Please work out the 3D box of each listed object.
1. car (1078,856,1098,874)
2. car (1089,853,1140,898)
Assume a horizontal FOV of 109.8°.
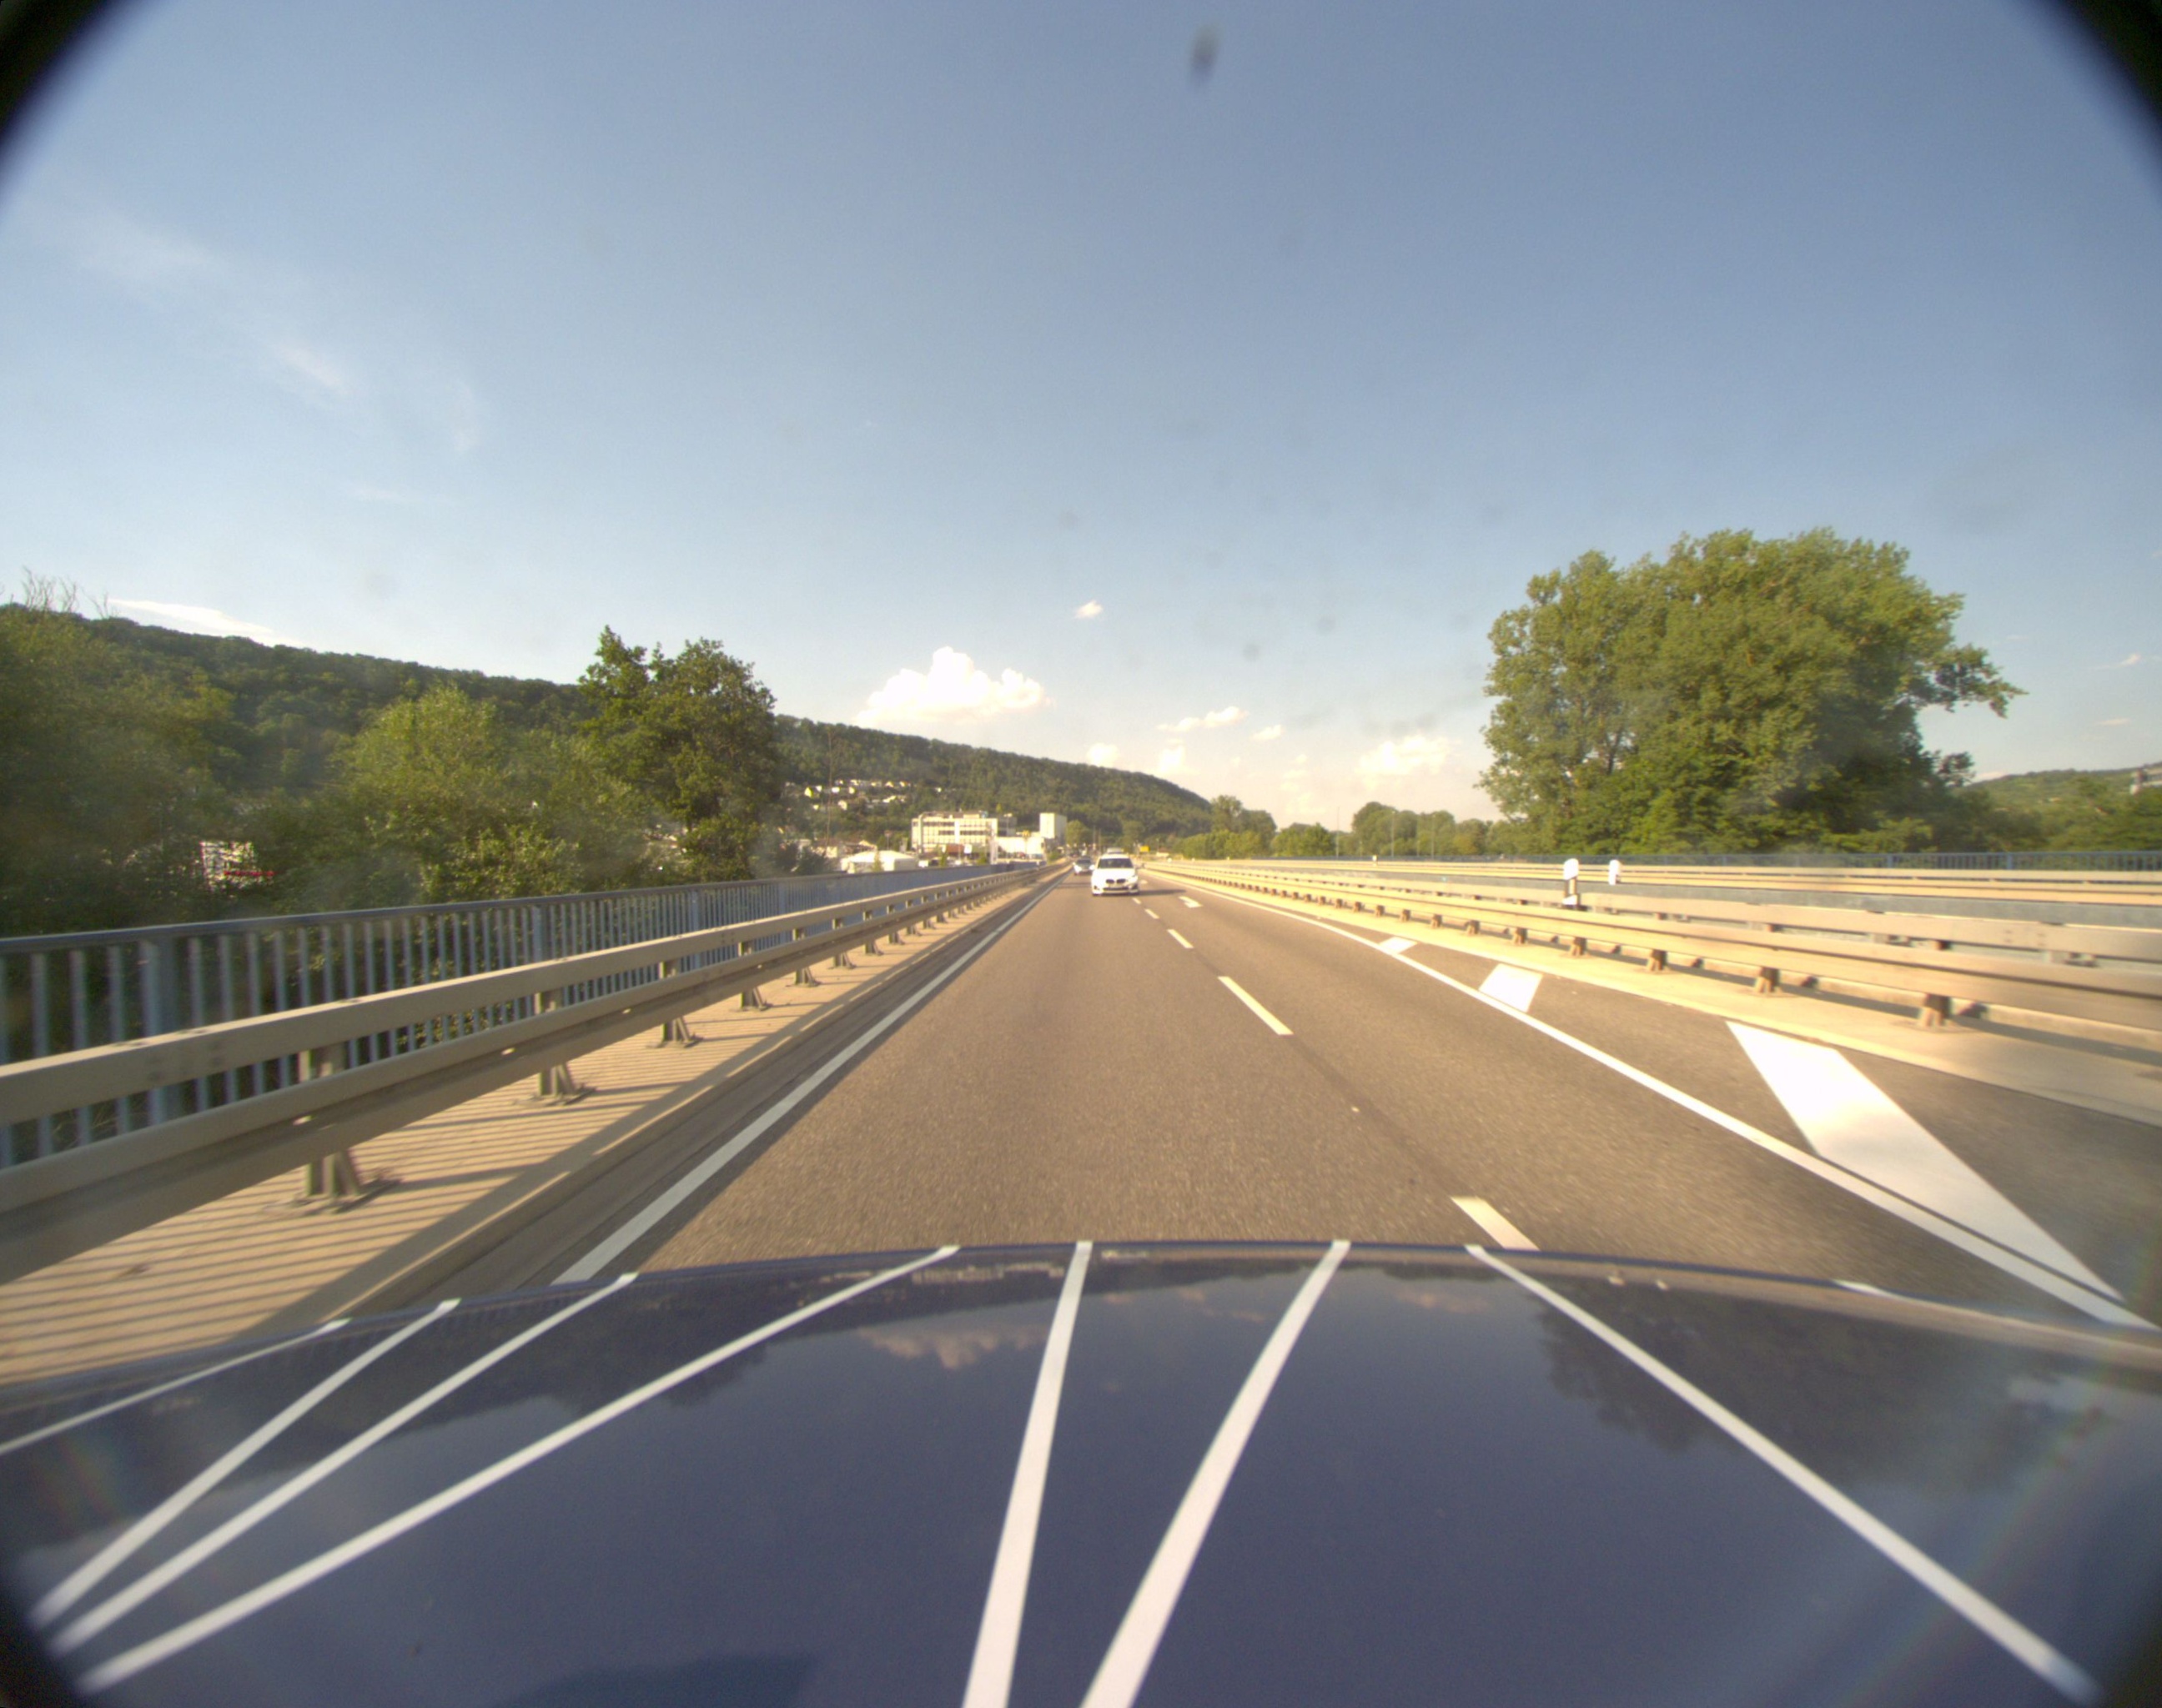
[{"bbox_3d":[0.625,0.942,65.188,1.690,1.383,3.883,-1,1,1],"label":"car"},{"bbox_3d":[1.264,0.792,30.111,1.825,1.551,3.999,-2,1,1],"label":"car"}]
